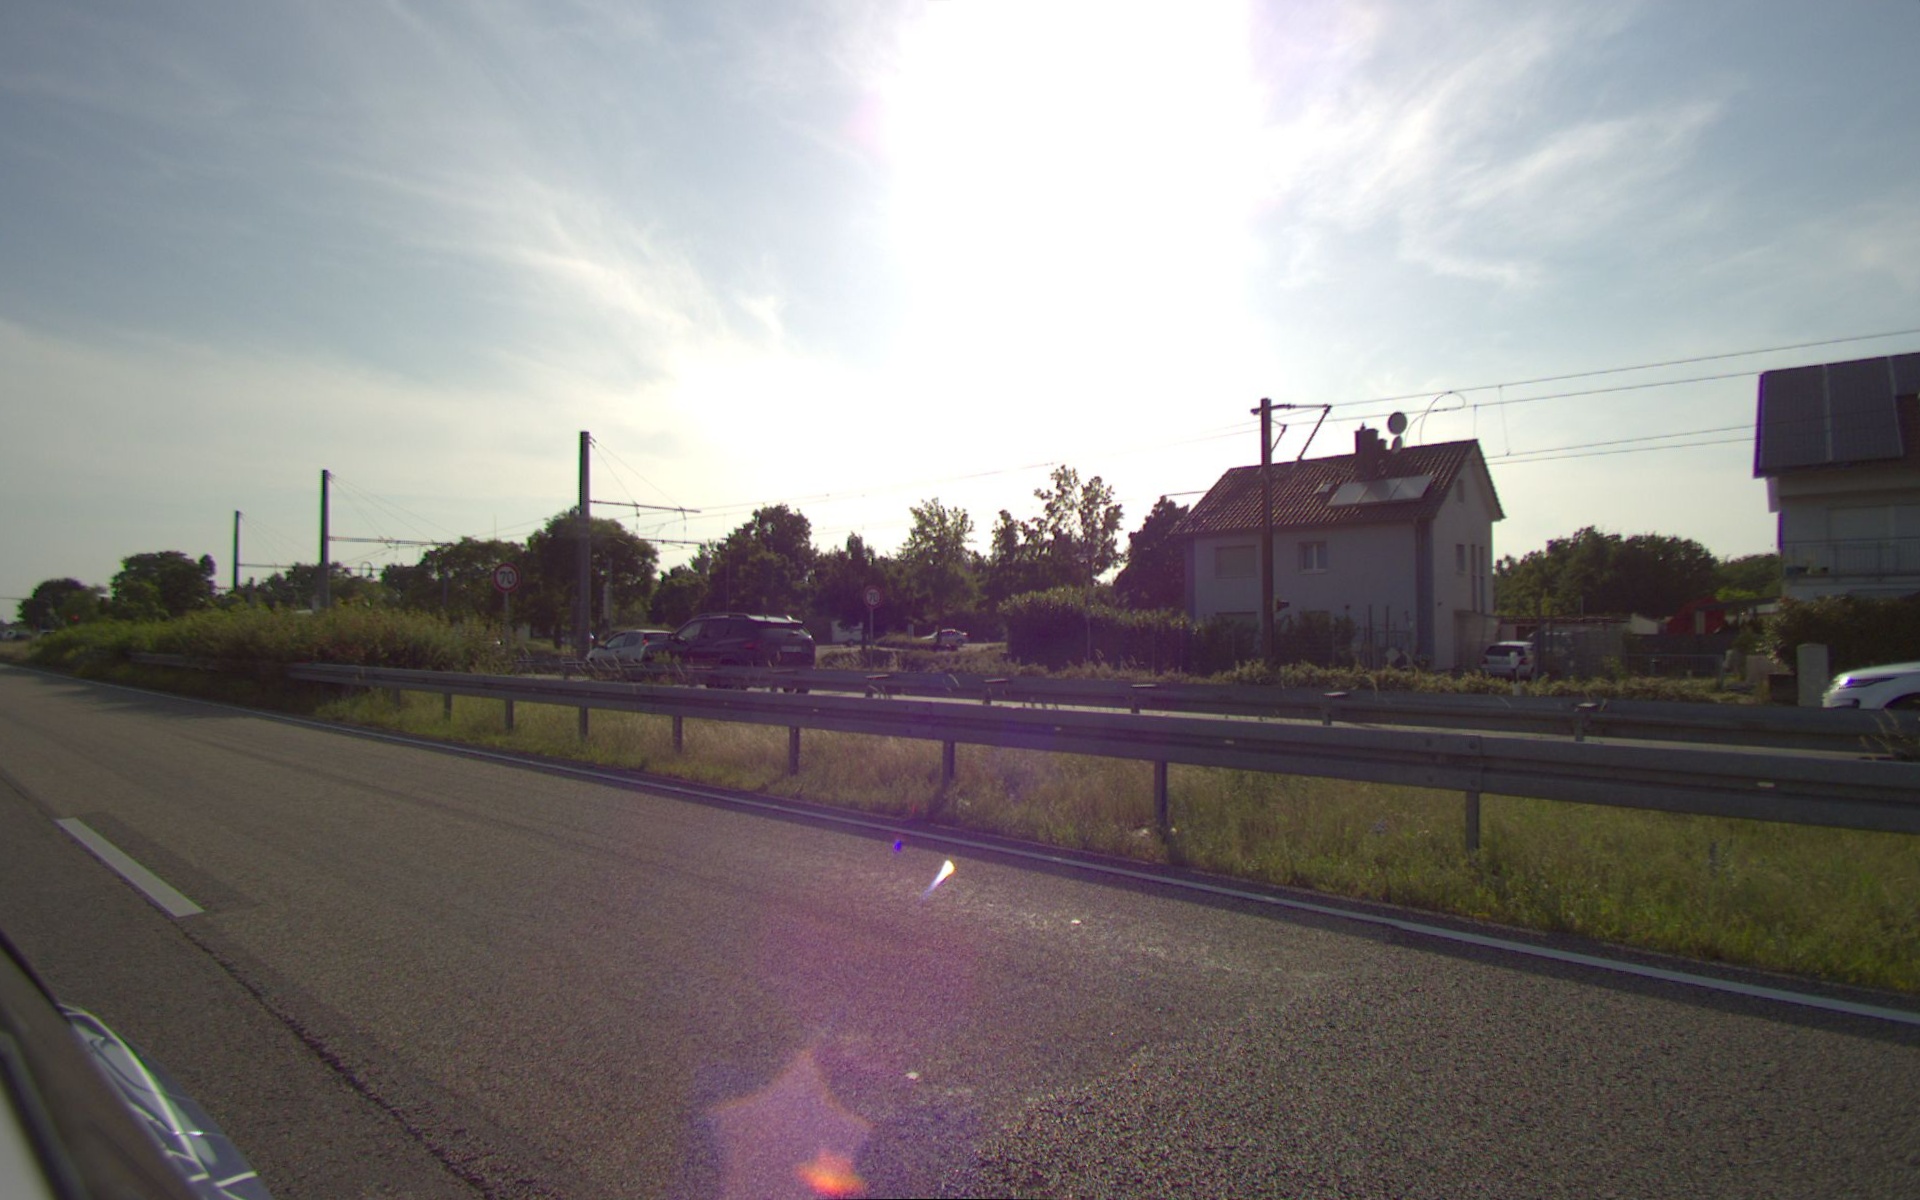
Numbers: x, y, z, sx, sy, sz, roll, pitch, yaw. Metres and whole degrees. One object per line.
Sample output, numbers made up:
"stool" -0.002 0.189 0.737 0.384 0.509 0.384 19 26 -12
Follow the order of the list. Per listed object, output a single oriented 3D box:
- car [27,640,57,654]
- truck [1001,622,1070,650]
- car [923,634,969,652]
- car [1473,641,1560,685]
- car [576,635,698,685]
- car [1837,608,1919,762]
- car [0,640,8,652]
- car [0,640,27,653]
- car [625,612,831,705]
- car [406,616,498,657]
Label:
"car" -92.564 4.754 102.031 4.539 1.391 1.643 -2 -4 41
"truck" 6.787 3.213 91.323 5.890 2.265 2.004 -1 -1 -10
"car" -1.195 3.610 85.051 3.620 1.377 1.711 -2 -5 41
"car" 20.138 2.247 36.549 1.784 1.409 3.942 -2 -2 44
"car" -9.474 1.736 29.587 3.620 1.377 1.711 -2 -5 41
"car" 12.095 0.879 10.518 4.444 1.624 1.697 -2 -1 41
"car" -119.087 5.685 125.040 4.466 1.391 1.643 -2 -4 41
"car" -107.191 5.254 114.612 4.973 1.426 1.643 -2 -4 41
"car" -4.657 1.140 19.986 4.317 1.646 1.711 -2 -5 41
"car" -18.520 1.344 36.876 3.620 1.377 1.711 -2 -5 41
